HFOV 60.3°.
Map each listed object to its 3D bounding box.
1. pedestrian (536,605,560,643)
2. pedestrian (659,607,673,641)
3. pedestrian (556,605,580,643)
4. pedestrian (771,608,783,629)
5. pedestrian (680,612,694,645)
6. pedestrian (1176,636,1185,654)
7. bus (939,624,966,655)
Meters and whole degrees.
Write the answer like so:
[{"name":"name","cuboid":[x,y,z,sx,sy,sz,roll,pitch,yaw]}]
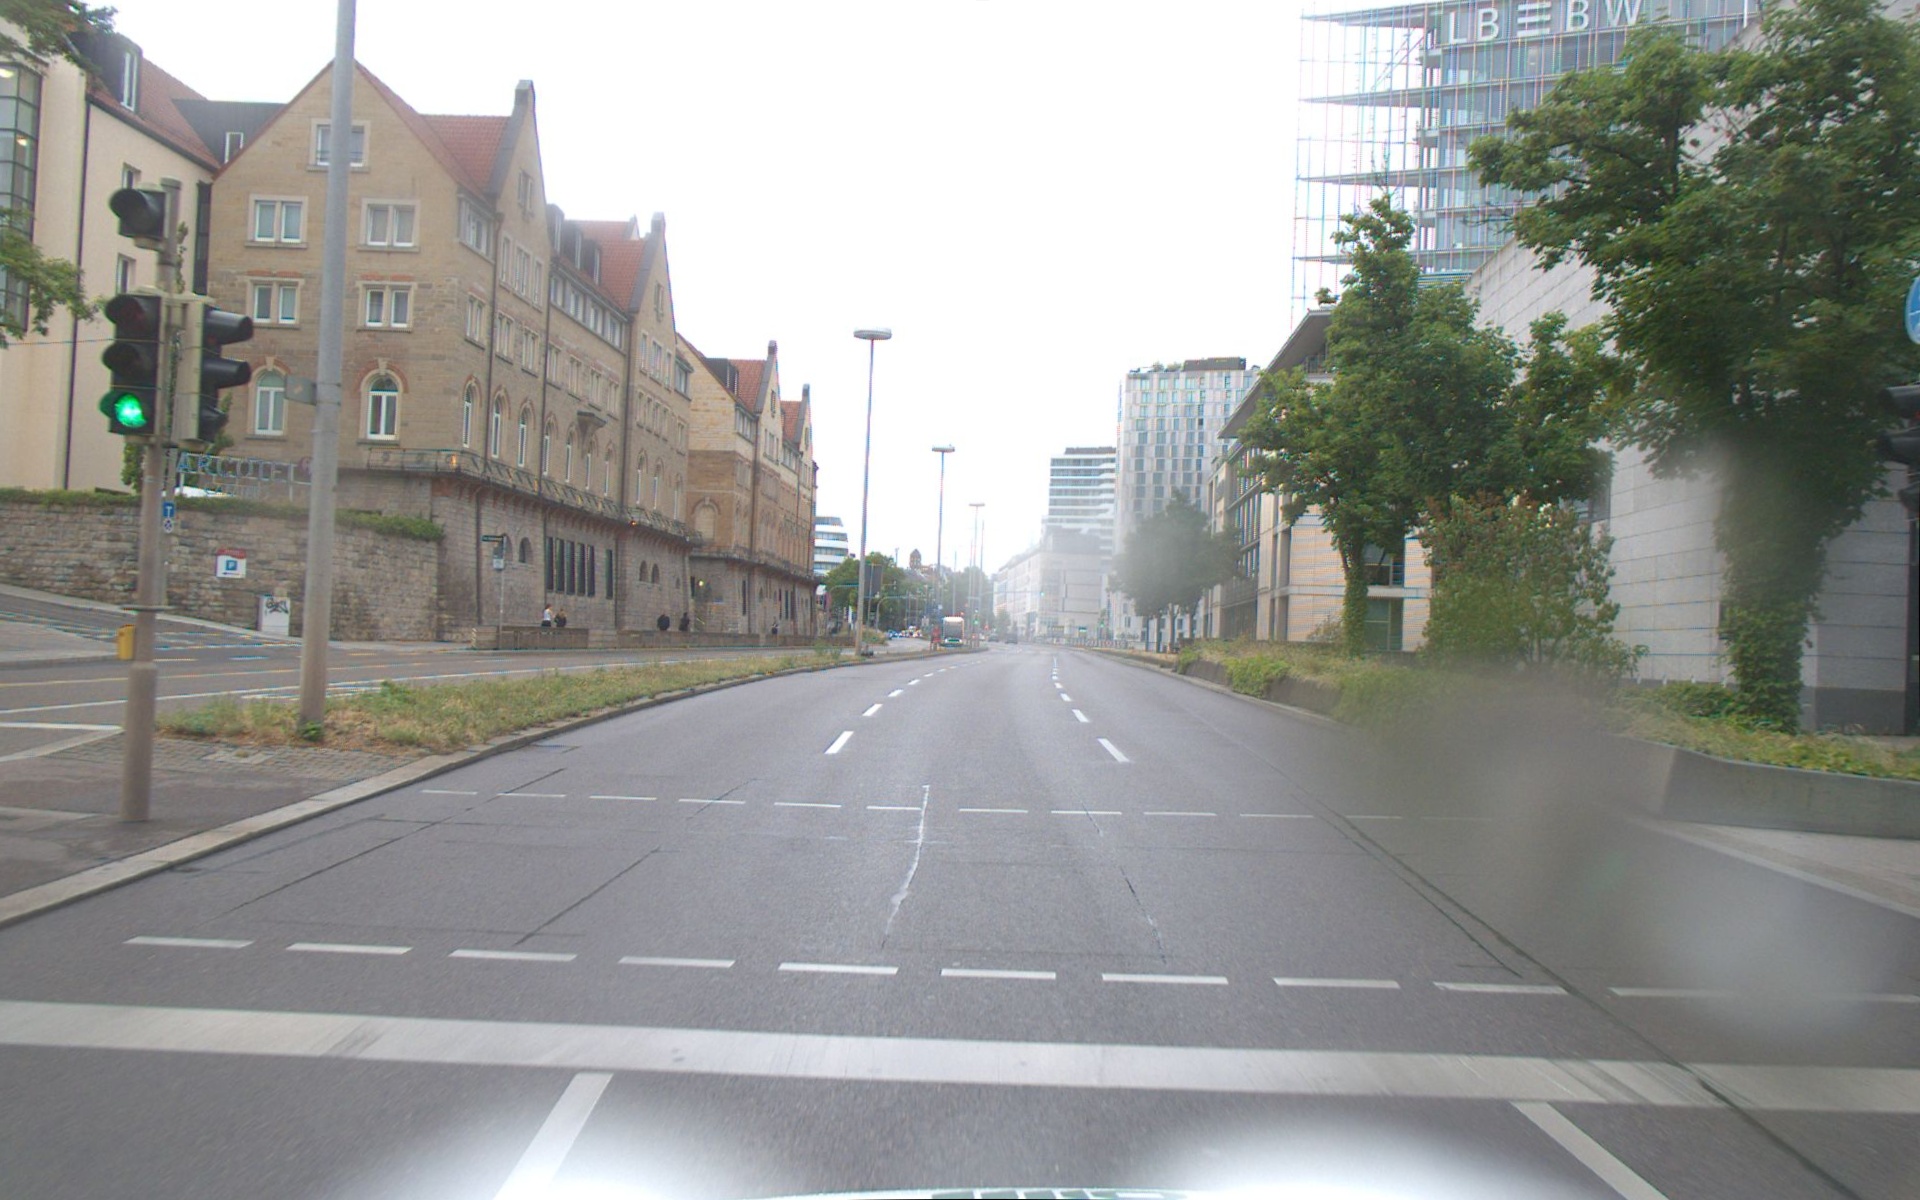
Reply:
[{"name":"pedestrian","cuboid":[-16.536,0.949,66.456,0.738,1.504,0.714,1,0,2]},{"name":"pedestrian","cuboid":[-15.574,1.277,87.613,0.627,1.776,0.621,1,0,1]},{"name":"pedestrian","cuboid":[-15.736,0.947,66.442,0.738,1.504,0.714,1,0,2]},{"name":"pedestrian","cuboid":[-13.511,1.348,122.240,0.738,1.504,0.714,1,0,2]},{"name":"pedestrian","cuboid":[-14.722,1.517,89.135,0.627,1.776,0.621,1,0,1]},{"name":"pedestrian","cuboid":[19.890,4.020,149.328,0.540,1.605,0.668,1,0,37]},{"name":"bus","cuboid":[-0.876,4.862,201.104,2.642,3.622,10.095,1,-1,3]}]
